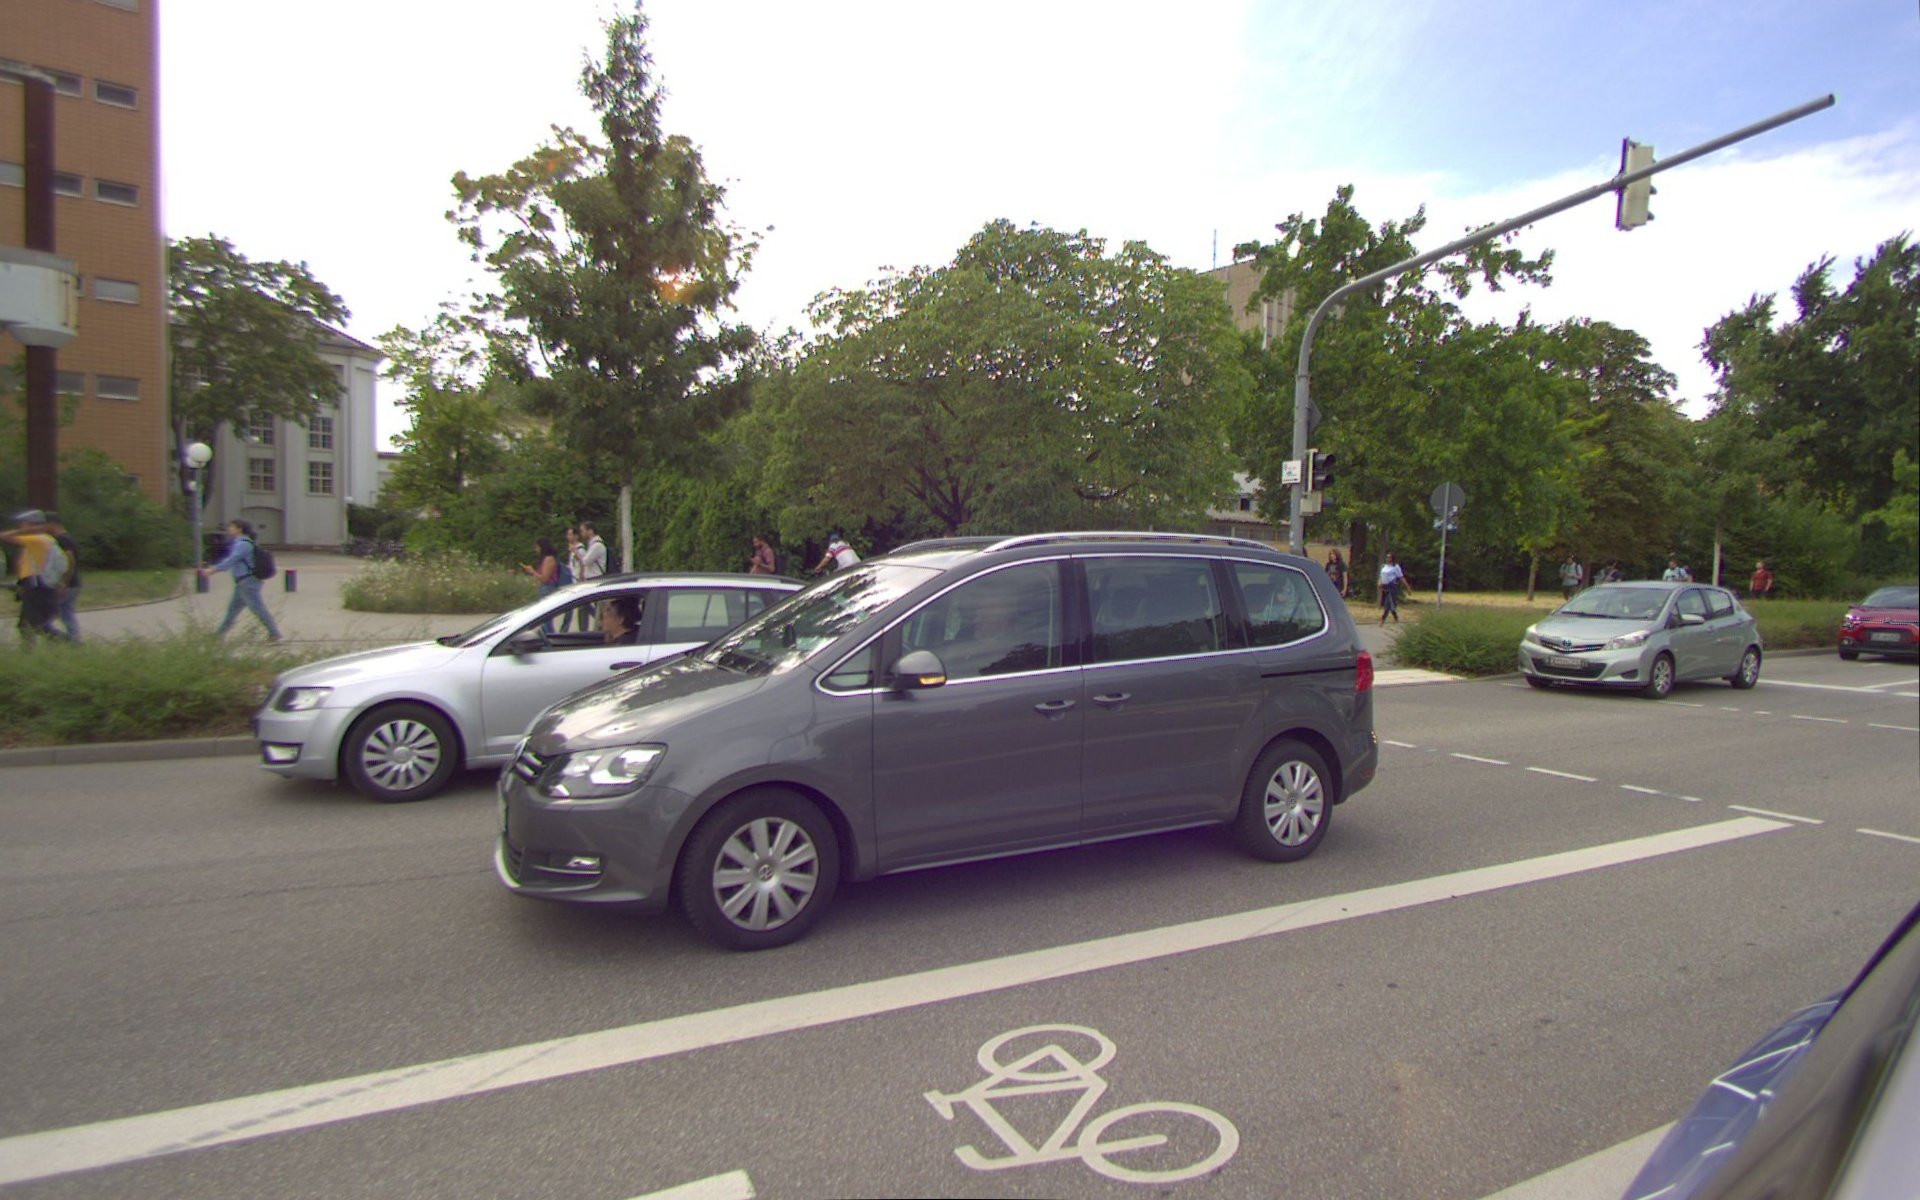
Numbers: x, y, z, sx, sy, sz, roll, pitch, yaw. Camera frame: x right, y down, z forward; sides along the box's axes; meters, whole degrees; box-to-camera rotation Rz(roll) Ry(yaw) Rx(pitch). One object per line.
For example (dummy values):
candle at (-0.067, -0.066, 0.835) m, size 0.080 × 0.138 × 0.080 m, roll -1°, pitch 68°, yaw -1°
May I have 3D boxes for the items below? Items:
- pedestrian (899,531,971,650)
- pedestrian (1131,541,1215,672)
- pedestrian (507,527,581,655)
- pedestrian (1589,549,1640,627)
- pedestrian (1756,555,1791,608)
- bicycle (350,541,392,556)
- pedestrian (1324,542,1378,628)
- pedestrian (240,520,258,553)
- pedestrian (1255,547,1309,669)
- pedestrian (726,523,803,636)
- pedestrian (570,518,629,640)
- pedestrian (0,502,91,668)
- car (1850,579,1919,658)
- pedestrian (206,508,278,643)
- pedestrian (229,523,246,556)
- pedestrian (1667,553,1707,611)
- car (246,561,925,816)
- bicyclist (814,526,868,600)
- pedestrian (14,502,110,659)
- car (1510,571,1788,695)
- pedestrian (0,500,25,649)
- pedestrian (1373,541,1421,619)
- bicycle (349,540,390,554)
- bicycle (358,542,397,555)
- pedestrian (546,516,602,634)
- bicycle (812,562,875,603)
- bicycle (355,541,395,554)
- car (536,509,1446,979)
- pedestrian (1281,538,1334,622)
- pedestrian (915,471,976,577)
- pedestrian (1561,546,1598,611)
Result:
pedestrian at (-0.384, -0.149, 15.269) m, size 0.784 × 1.732 × 0.840 m, roll -1°, pitch 1°, yaw -30°
pedestrian at (2.937, 0.073, 13.985) m, size 0.822 × 1.732 × 0.801 m, roll -1°, pitch 1°, yaw -28°
pedestrian at (-5.376, -0.137, 13.057) m, size 0.784 × 1.561 × 0.841 m, roll -1°, pitch 5°, yaw -30°
pedestrian at (14.694, -0.277, 22.734) m, size 0.679 × 1.732 × 0.735 m, roll -1°, pitch 1°, yaw -30°
pedestrian at (26.848, -0.602, 33.393) m, size 0.681 × 1.732 × 0.715 m, roll -1°, pitch 1°, yaw -33°
bicycle at (-30.469, -2.660, 52.369) m, size 1.807 × 0.702 × 0.653 m, roll -1°, pitch 1°, yaw -25°
pedestrian at (8.085, -0.315, 20.930) m, size 0.836 × 1.732 × 0.788 m, roll 0°, pitch 1°, yaw 42°
pedestrian at (-37.480, -3.324, 53.361) m, size 0.627 × 1.732 × 0.710 m, roll 0°, pitch 2°, yaw -25°
pedestrian at (4.687, 0.107, 14.730) m, size 0.576 × 1.732 × 0.482 m, roll -1°, pitch 1°, yaw -28°
pedestrian at (-3.123, -0.323, 16.138) m, size 0.993 × 1.732 × 0.840 m, roll -1°, pitch 1°, yaw -30°
pedestrian at (-5.285, -0.308, 14.820) m, size 0.694 × 1.732 × 0.641 m, roll -1°, pitch 1°, yaw -30°
pedestrian at (-9.995, -0.178, 11.001) m, size 0.694 × 1.731 × 0.641 m, roll -1°, pitch 3°, yaw -30°
car at (18.982, 0.311, 19.717) m, size 3.391 × 1.433 × 1.672 m, roll -1°, pitch 1°, yaw -34°
pedestrian at (-9.466, -0.338, 13.367) m, size 0.694 × 1.731 × 0.641 m, roll -1°, pitch 4°, yaw -30°
pedestrian at (-38.447, -3.194, 53.865) m, size 0.627 × 1.732 × 0.710 m, roll 0°, pitch 2°, yaw -25°
pedestrian at (22.241, -0.554, 30.956) m, size 0.682 × 1.732 × 0.842 m, roll -1°, pitch 1°, yaw -36°
car at (-2.662, 0.468, 7.794) m, size 4.437 × 1.492 × 1.828 m, roll -1°, pitch 1°, yaw -29°
bicyclist at (-2.178, -0.668, 18.464) m, size 0.822 × 1.293 × 1.015 m, roll 0°, pitch 1°, yaw -15°
pedestrian at (-10.332, -0.227, 11.667) m, size 0.694 × 1.732 × 0.641 m, roll -1°, pitch 1°, yaw -30°
car at (9.556, 0.364, 13.999) m, size 3.798 × 1.508 × 1.673 m, roll -1°, pitch 1°, yaw -29°
pedestrian at (-11.560, -0.305, 11.884) m, size 0.694 × 1.732 × 0.641 m, roll -1°, pitch 2°, yaw -30°
pedestrian at (9.872, -0.460, 22.861) m, size 0.785 × 1.732 × 0.714 m, roll -1°, pitch 1°, yaw -37°
bicycle at (-31.259, -2.791, 53.613) m, size 1.807 × 0.702 × 0.653 m, roll -1°, pitch 1°, yaw -25°
bicycle at (-32.709, -2.891, 56.864) m, size 1.807 × 0.702 × 0.653 m, roll -1°, pitch 1°, yaw -25°
pedestrian at (-5.854, -0.382, 15.341) m, size 0.694 × 1.732 × 0.641 m, roll -1°, pitch 1°, yaw -30°
bicycle at (-2.139, -0.331, 18.349) m, size 0.826 × 0.702 × 1.849 m, roll -1°, pitch 1°, yaw -16°
bicycle at (-31.922, -2.851, 55.221) m, size 1.807 × 0.702 × 0.653 m, roll -1°, pitch 1°, yaw -25°
car at (0.279, 0.463, 5.421) m, size 4.590 × 1.671 × 1.763 m, roll -1°, pitch 1°, yaw -27°
pedestrian at (7.381, -0.424, 21.487) m, size 0.836 × 1.732 × 0.788 m, roll 0°, pitch 1°, yaw 42°
pedestrian at (-0.268, -1.324, 18.084) m, size 0.784 × 1.831 × 0.840 m, roll -1°, pitch 1°, yaw -30°
pedestrian at (16.694, -0.582, 27.272) m, size 0.682 × 1.716 × 0.544 m, roll -1°, pitch 4°, yaw -37°
